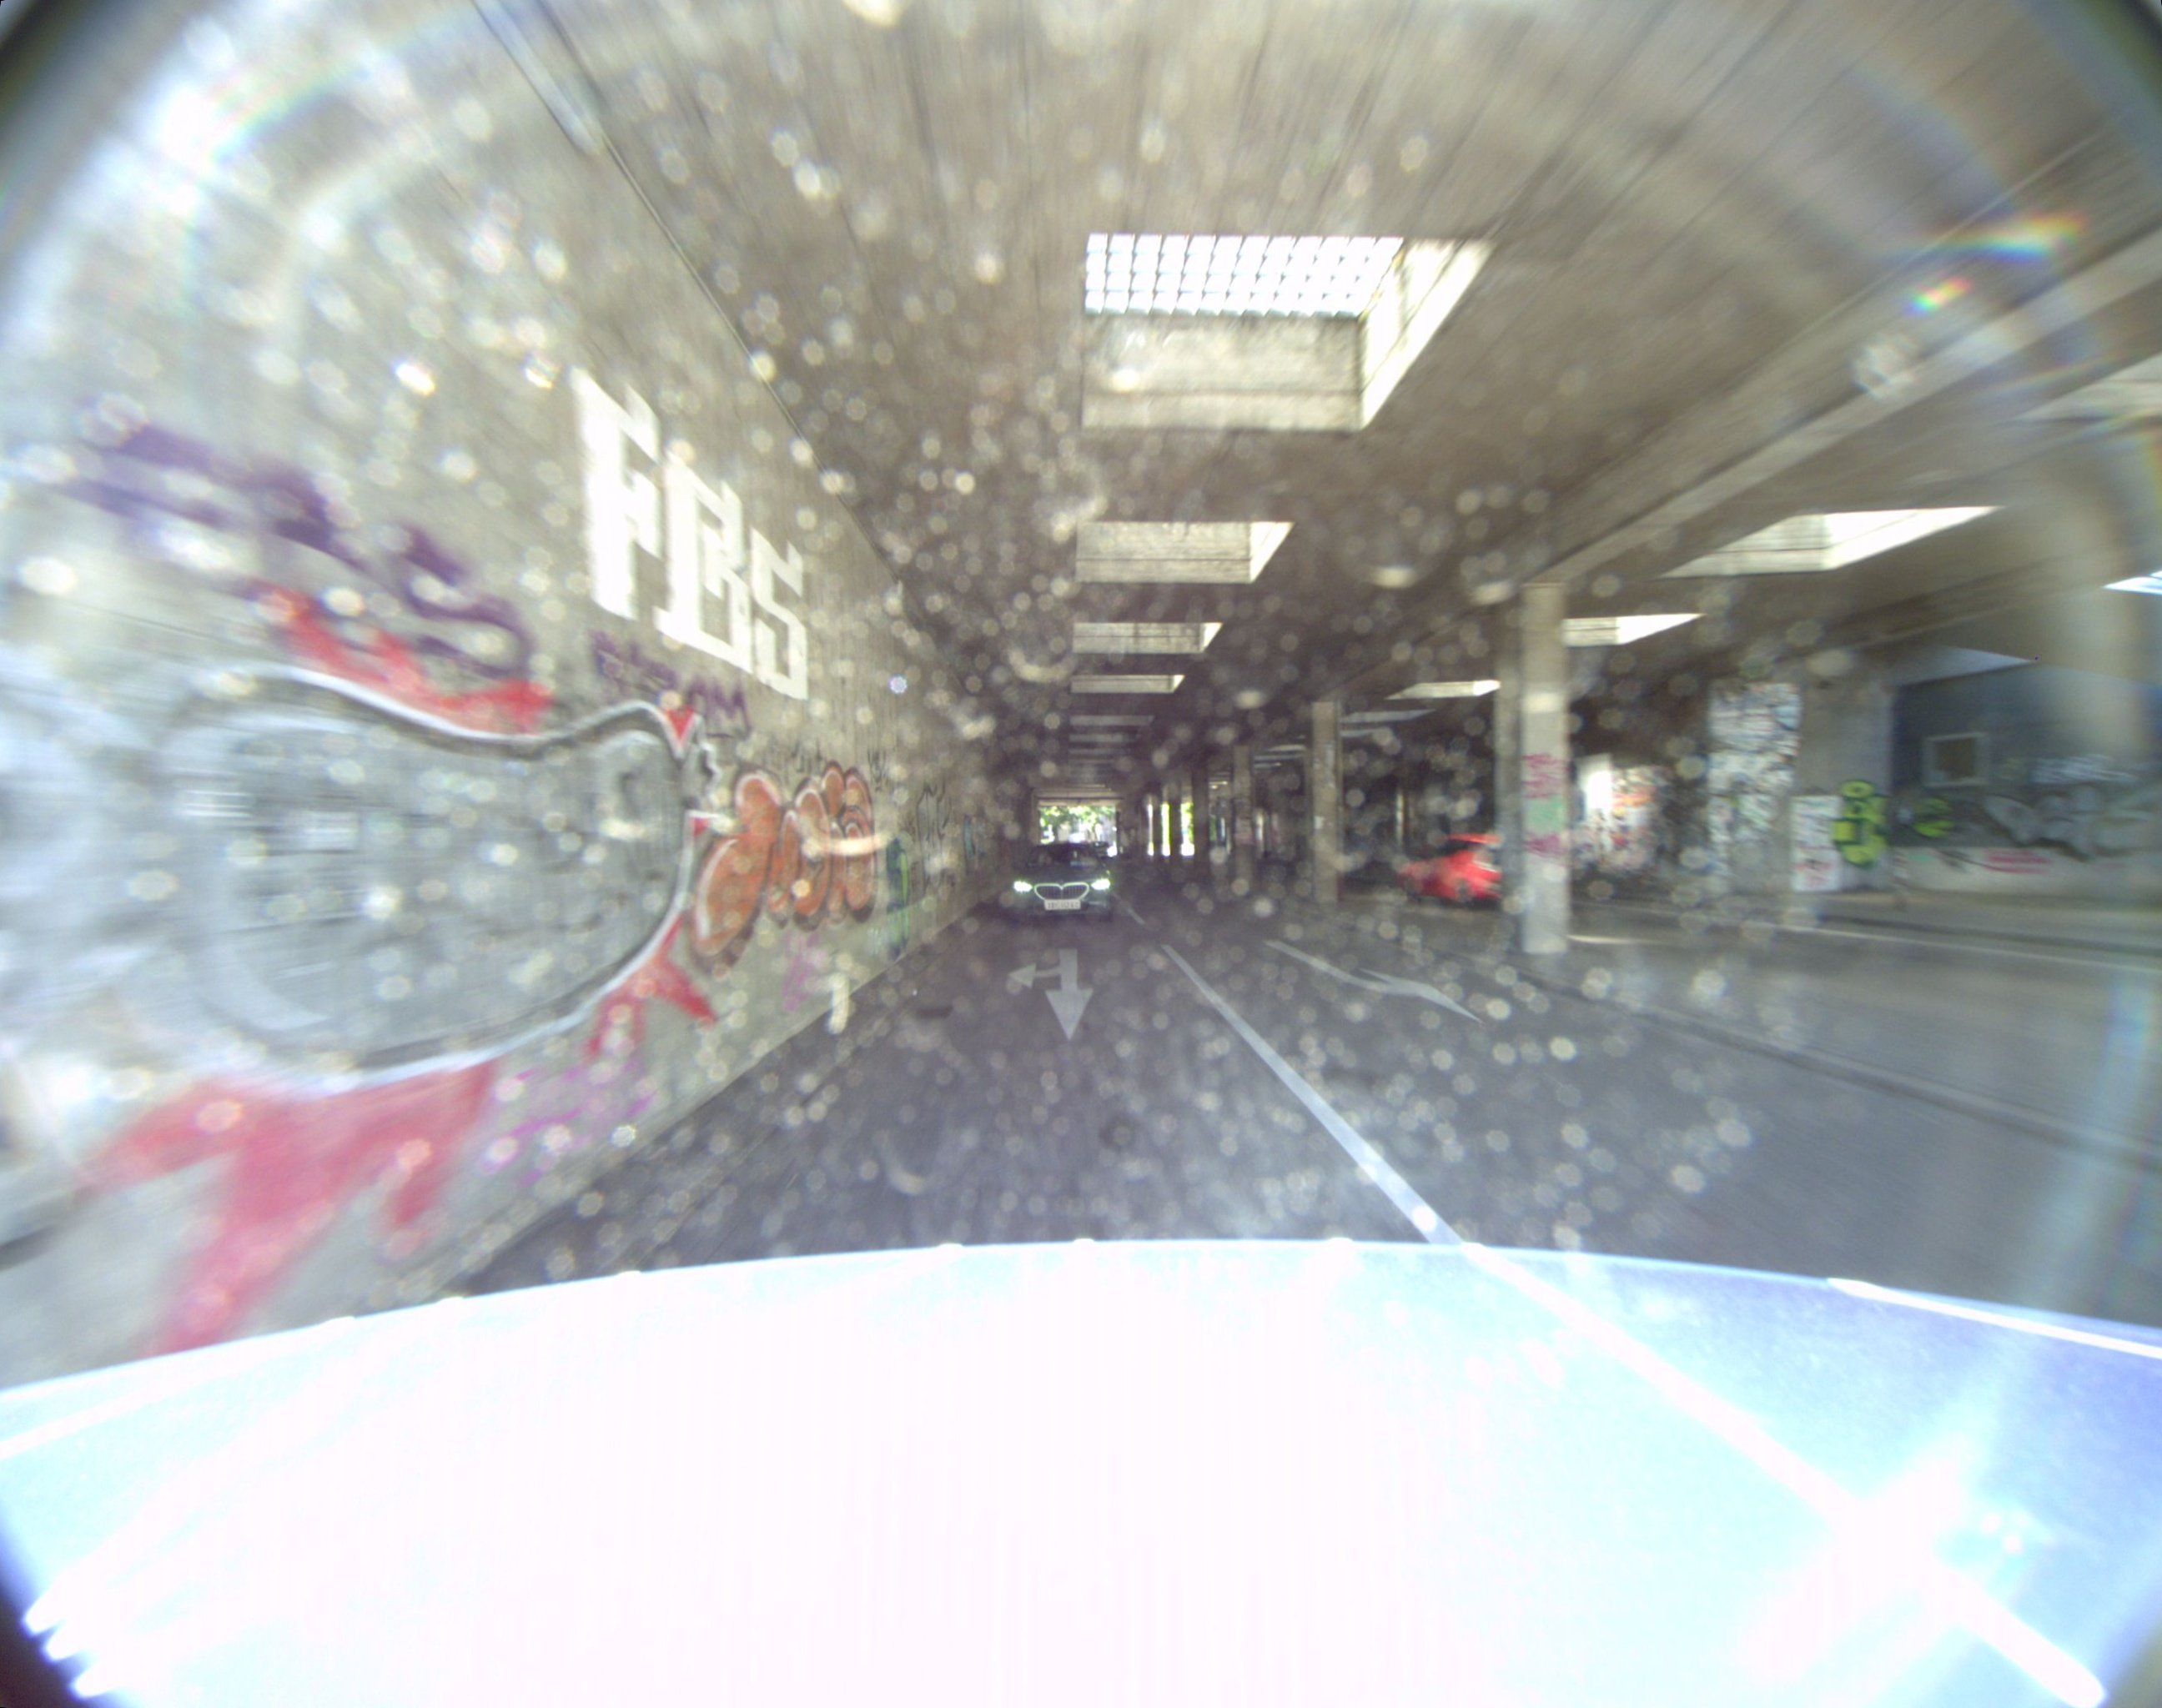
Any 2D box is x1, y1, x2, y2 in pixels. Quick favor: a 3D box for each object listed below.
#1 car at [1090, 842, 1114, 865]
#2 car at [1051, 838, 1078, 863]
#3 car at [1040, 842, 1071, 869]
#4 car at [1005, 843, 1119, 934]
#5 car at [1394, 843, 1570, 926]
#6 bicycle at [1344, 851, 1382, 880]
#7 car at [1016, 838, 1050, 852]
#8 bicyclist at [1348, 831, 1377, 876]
[{"bbox_3d":[1.529,-0.072,56.777,1.616,1.546,4.012,-1,1,0],"label":"car"},{"bbox_3d":[-1.006,-0.259,48.850,1.616,1.546,4.012,-1,1,0],"label":"car"},{"bbox_3d":[-1.389,0.037,42.799,1.616,1.367,4.198,-1,1,0],"label":"car"},{"bbox_3d":[-0.330,0.569,15.848,1.957,1.547,5.039,-1,1,0],"label":"car"},{"bbox_3d":[7.890,0.518,15.323,1.662,1.433,3.462,-1,1,-1],"label":"car"},{"bbox_3d":[10.965,0.451,29.597,0.700,1.084,1.860,-1,-1,-1],"label":"bicycle"},{"bbox_3d":[-6.162,-1.157,97.492,4.331,1.712,1.859,-1,1,-2],"label":"car"},{"bbox_3d":[10.937,-0.028,29.541,0.747,1.701,0.967,-1,0,-2],"label":"bicyclist"}]
